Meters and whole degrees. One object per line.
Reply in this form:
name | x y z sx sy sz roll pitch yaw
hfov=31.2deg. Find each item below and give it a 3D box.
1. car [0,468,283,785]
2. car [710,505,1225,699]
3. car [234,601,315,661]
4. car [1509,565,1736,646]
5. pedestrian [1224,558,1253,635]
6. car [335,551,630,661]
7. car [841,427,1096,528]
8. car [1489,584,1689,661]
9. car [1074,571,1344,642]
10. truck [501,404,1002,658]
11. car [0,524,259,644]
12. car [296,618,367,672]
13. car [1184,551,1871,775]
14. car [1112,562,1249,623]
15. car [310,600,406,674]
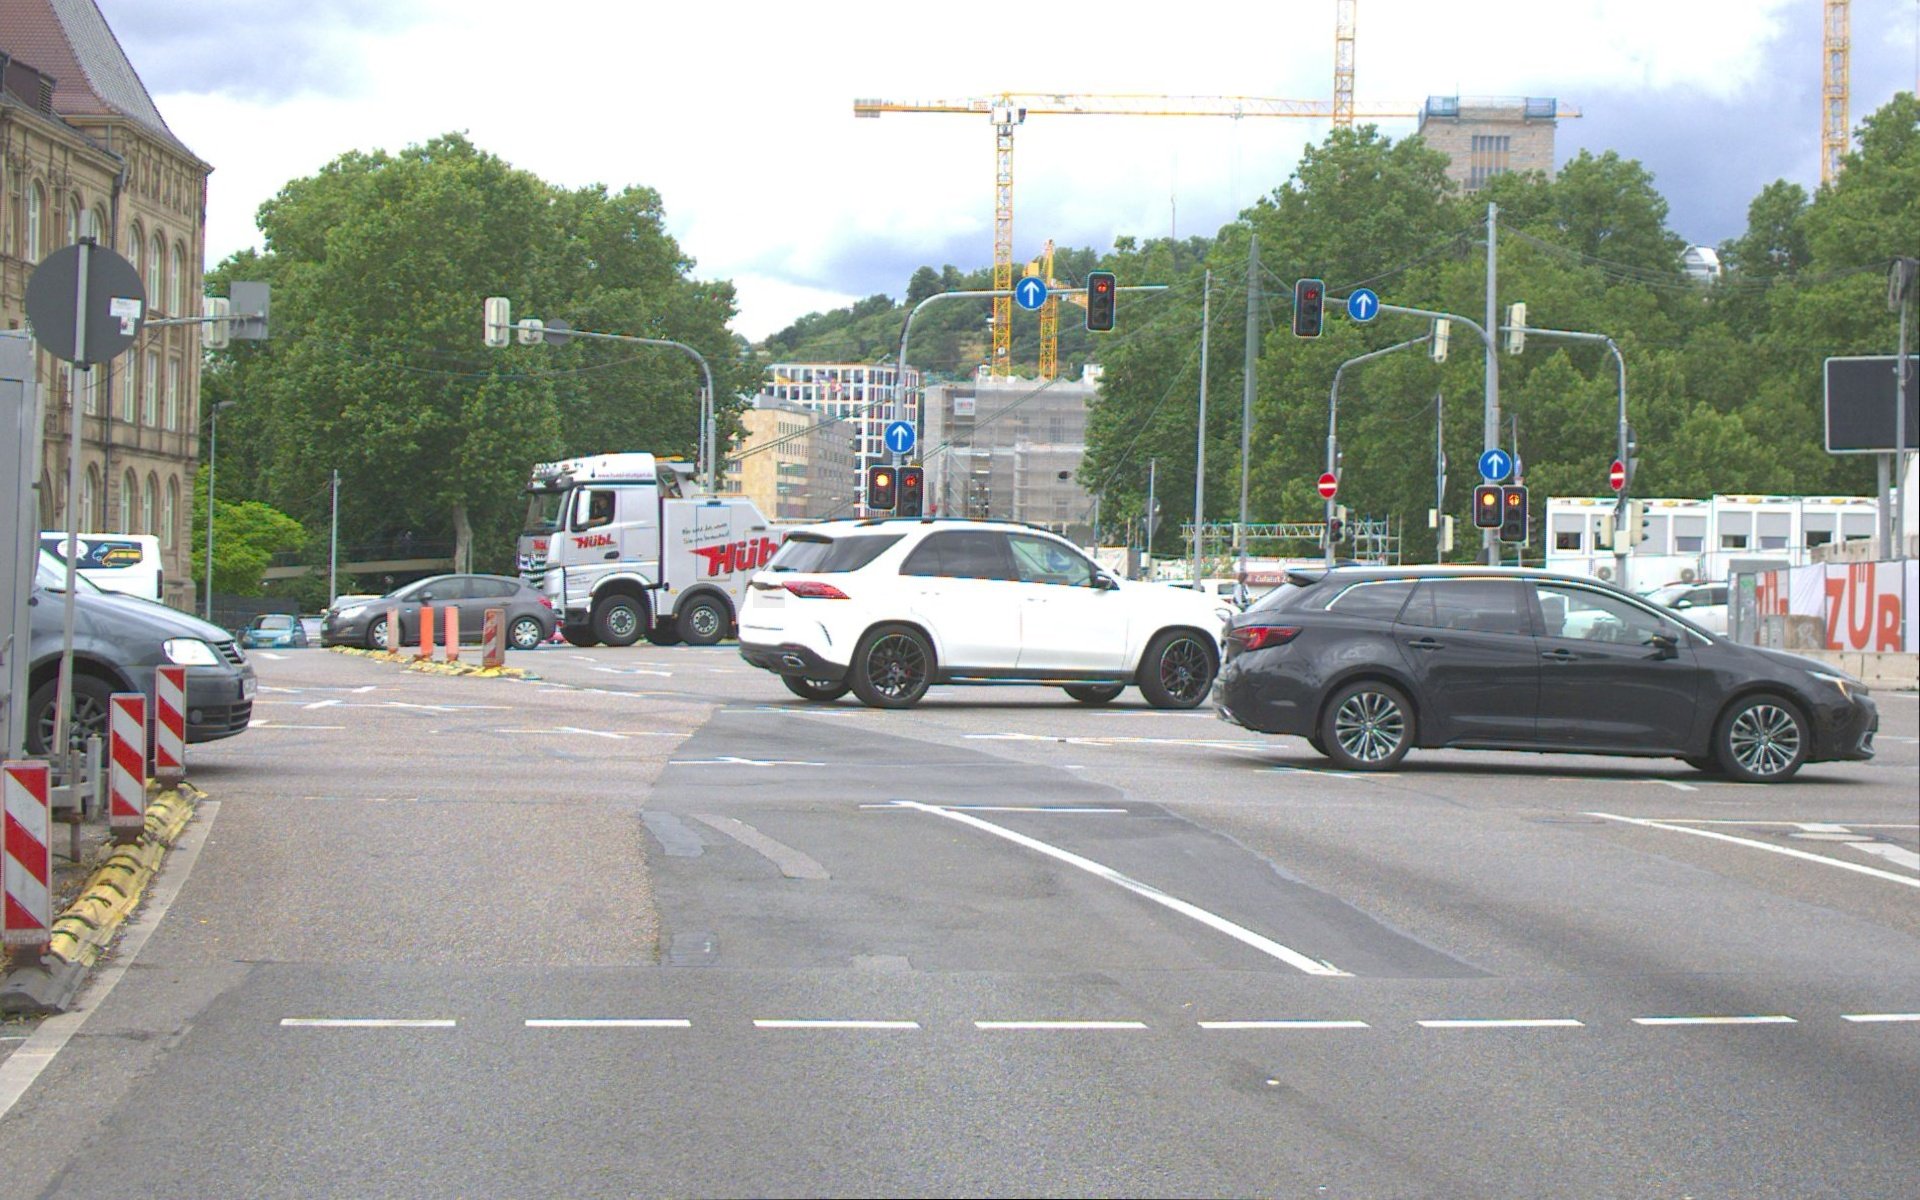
car | -6.395 0.129 20.624 4.269 1.799 2.000 1 0 -1
car | 0.064 0.024 32.881 4.489 1.753 2.001 1 1 -22
car | -22.095 0.994 110.905 1.993 1.831 4.001 1 1 -3
car | 14.569 0.116 75.589 4.583 1.718 1.909 1 1 -23
pedestrian | 6.689 -0.096 82.551 0.585 1.834 0.604 1 0 -4
car | -9.034 0.114 65.045 5.129 2.007 2.078 1 1 -23
car | 0.142 -2.188 62.188 4.164 1.695 1.967 1 1 -19
car | 14.500 0.514 79.231 4.146 1.718 1.909 1 1 -23
car | 5.169 0.134 71.476 5.132 1.415 2.238 1 1 -23
truck | -4.241 -1.343 70.494 9.712 4.943 3.114 1 0 -23
car | -14.903 -0.280 59.418 5.129 2.007 2.078 1 1 -23
car | -22.792 1.632 124.797 1.993 1.831 4.001 1 1 -3
car | 3.923 0.419 24.349 4.490 1.461 2.000 1 1 -1
car | 6.124 -0.225 95.898 1.860 1.645 4.000 1 1 -30
car | -15.790 0.956 90.367 1.993 1.831 4.001 1 1 -3
